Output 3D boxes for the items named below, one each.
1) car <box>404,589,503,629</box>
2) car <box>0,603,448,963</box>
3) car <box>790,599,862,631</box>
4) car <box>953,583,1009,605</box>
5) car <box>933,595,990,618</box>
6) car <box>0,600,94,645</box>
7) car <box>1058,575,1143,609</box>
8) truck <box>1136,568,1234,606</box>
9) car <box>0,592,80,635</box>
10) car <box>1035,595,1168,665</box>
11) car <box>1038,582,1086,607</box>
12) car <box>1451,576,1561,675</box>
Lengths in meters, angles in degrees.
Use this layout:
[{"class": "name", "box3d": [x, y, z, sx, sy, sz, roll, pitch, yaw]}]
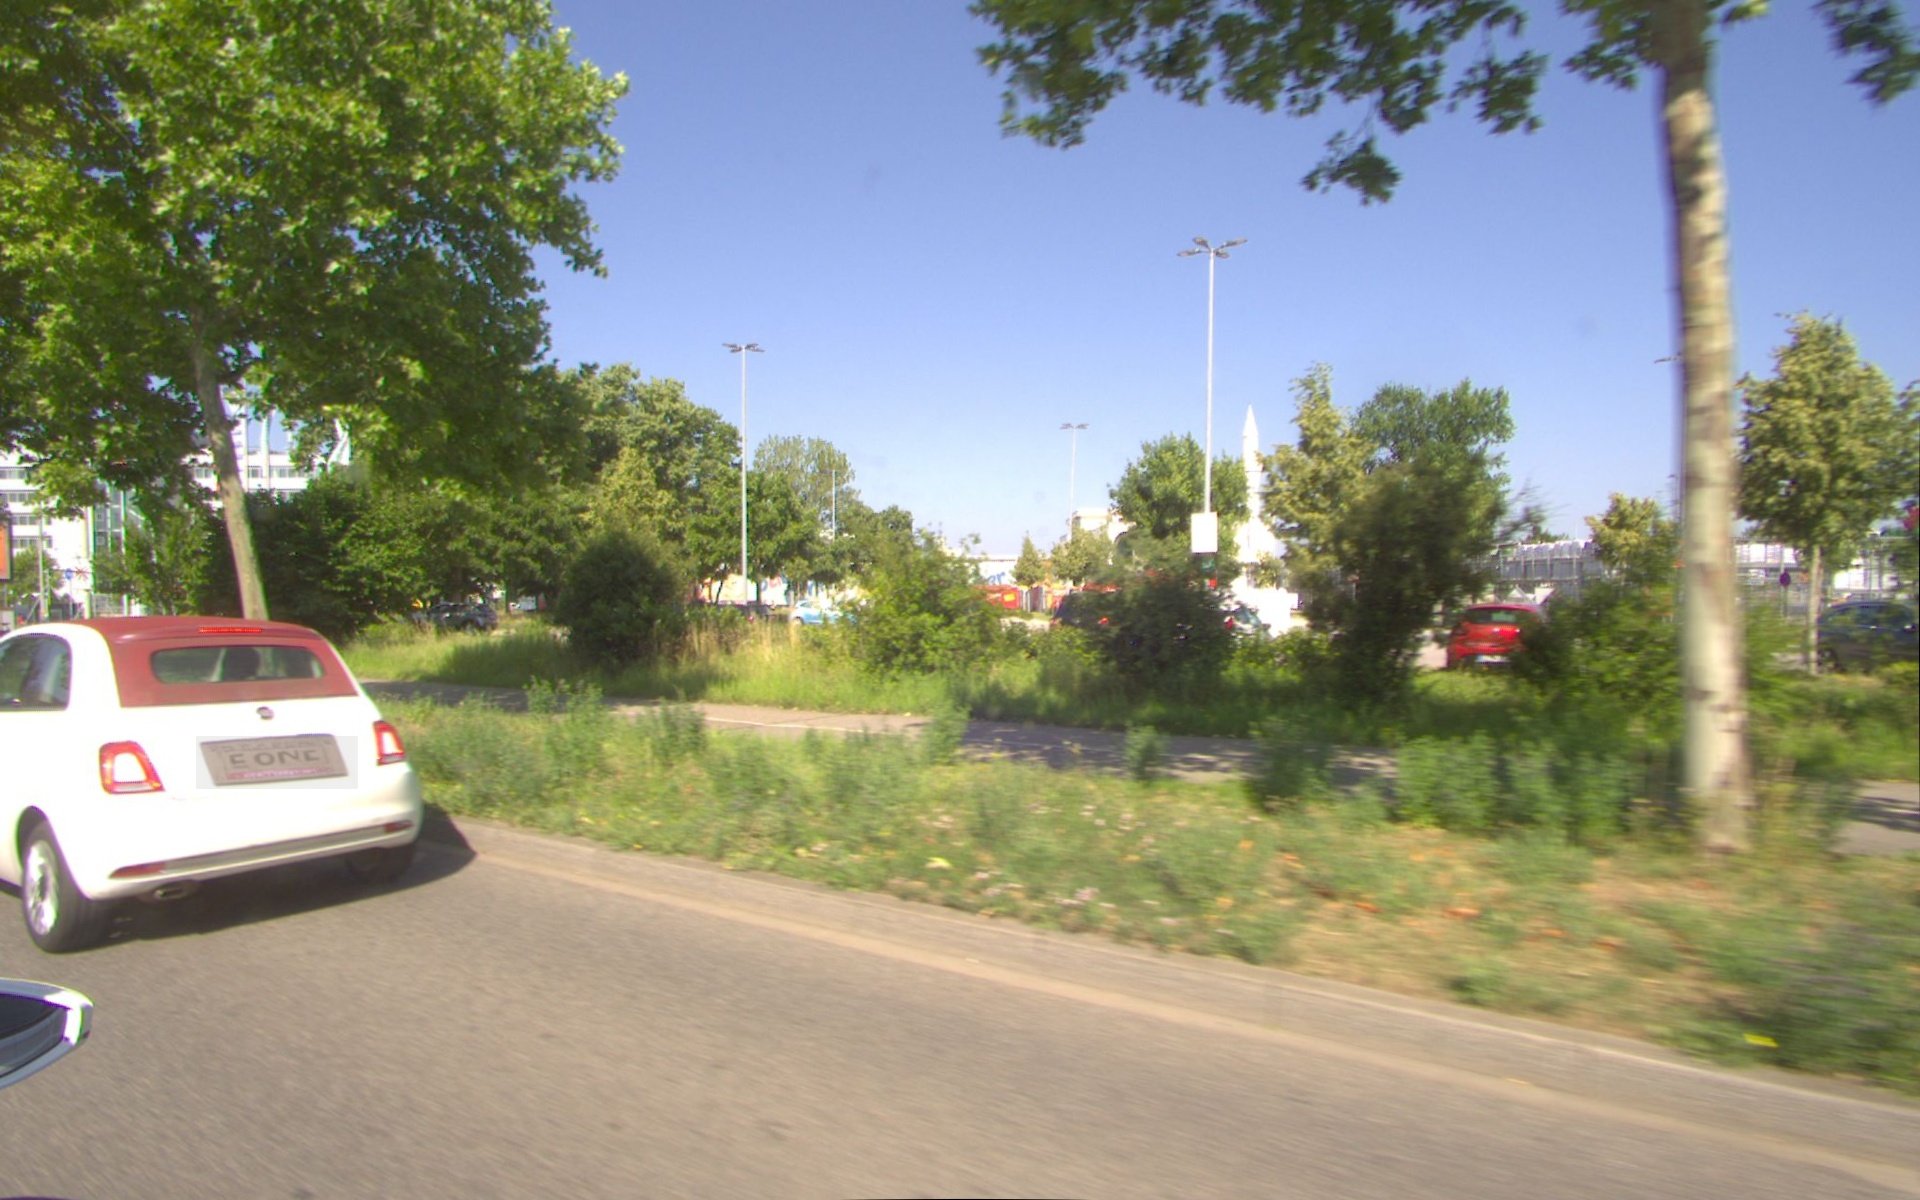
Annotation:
[{"class": "car", "box3d": [-22.671, 0.426, 44.949, 3.681, 1.738, 1.766, 0, -1, -14]}, {"class": "car", "box3d": [-4.674, 0.776, 5.723, 3.471, 1.455, 1.658, -1, -1, 34]}, {"class": "car", "box3d": [-6.622, 0.751, 49.619, 3.387, 1.591, 1.745, 0, -1, -2]}, {"class": "car", "box3d": [1.823, -0.521, 87.565, 4.824, 1.906, 1.770, 0, -1, 1]}, {"class": "car", "box3d": [0.130, 0.603, 93.043, 5.188, 2.038, 2.001, 0, -3, -5]}, {"class": "car", "box3d": [-35.951, 0.862, 38.335, 1.701, 1.683, 3.973, 0, -1, 37]}, {"class": "car", "box3d": [9.964, -0.559, 71.321, 5.822, 2.371, 2.115, 0, -1, 1]}, {"class": "truck", "box3d": [19.624, -1.119, 87.481, 8.068, 3.290, 2.000, 0, -1, -3]}, {"class": "car", "box3d": [-38.655, 0.556, 40.800, 1.701, 1.683, 3.973, 0, -1, 37]}, {"class": "car", "box3d": [3.399, 0.685, 23.420, 1.805, 1.477, 3.984, 0, -1, 29]}, {"class": "car", "box3d": [8.589, -0.433, 84.515, 3.922, 2.040, 2.000, 0, -1, 2]}, {"class": "car", "box3d": [10.442, 0.478, 19.026, 1.663, 1.692, 3.815, 0, -1, 31]}]
